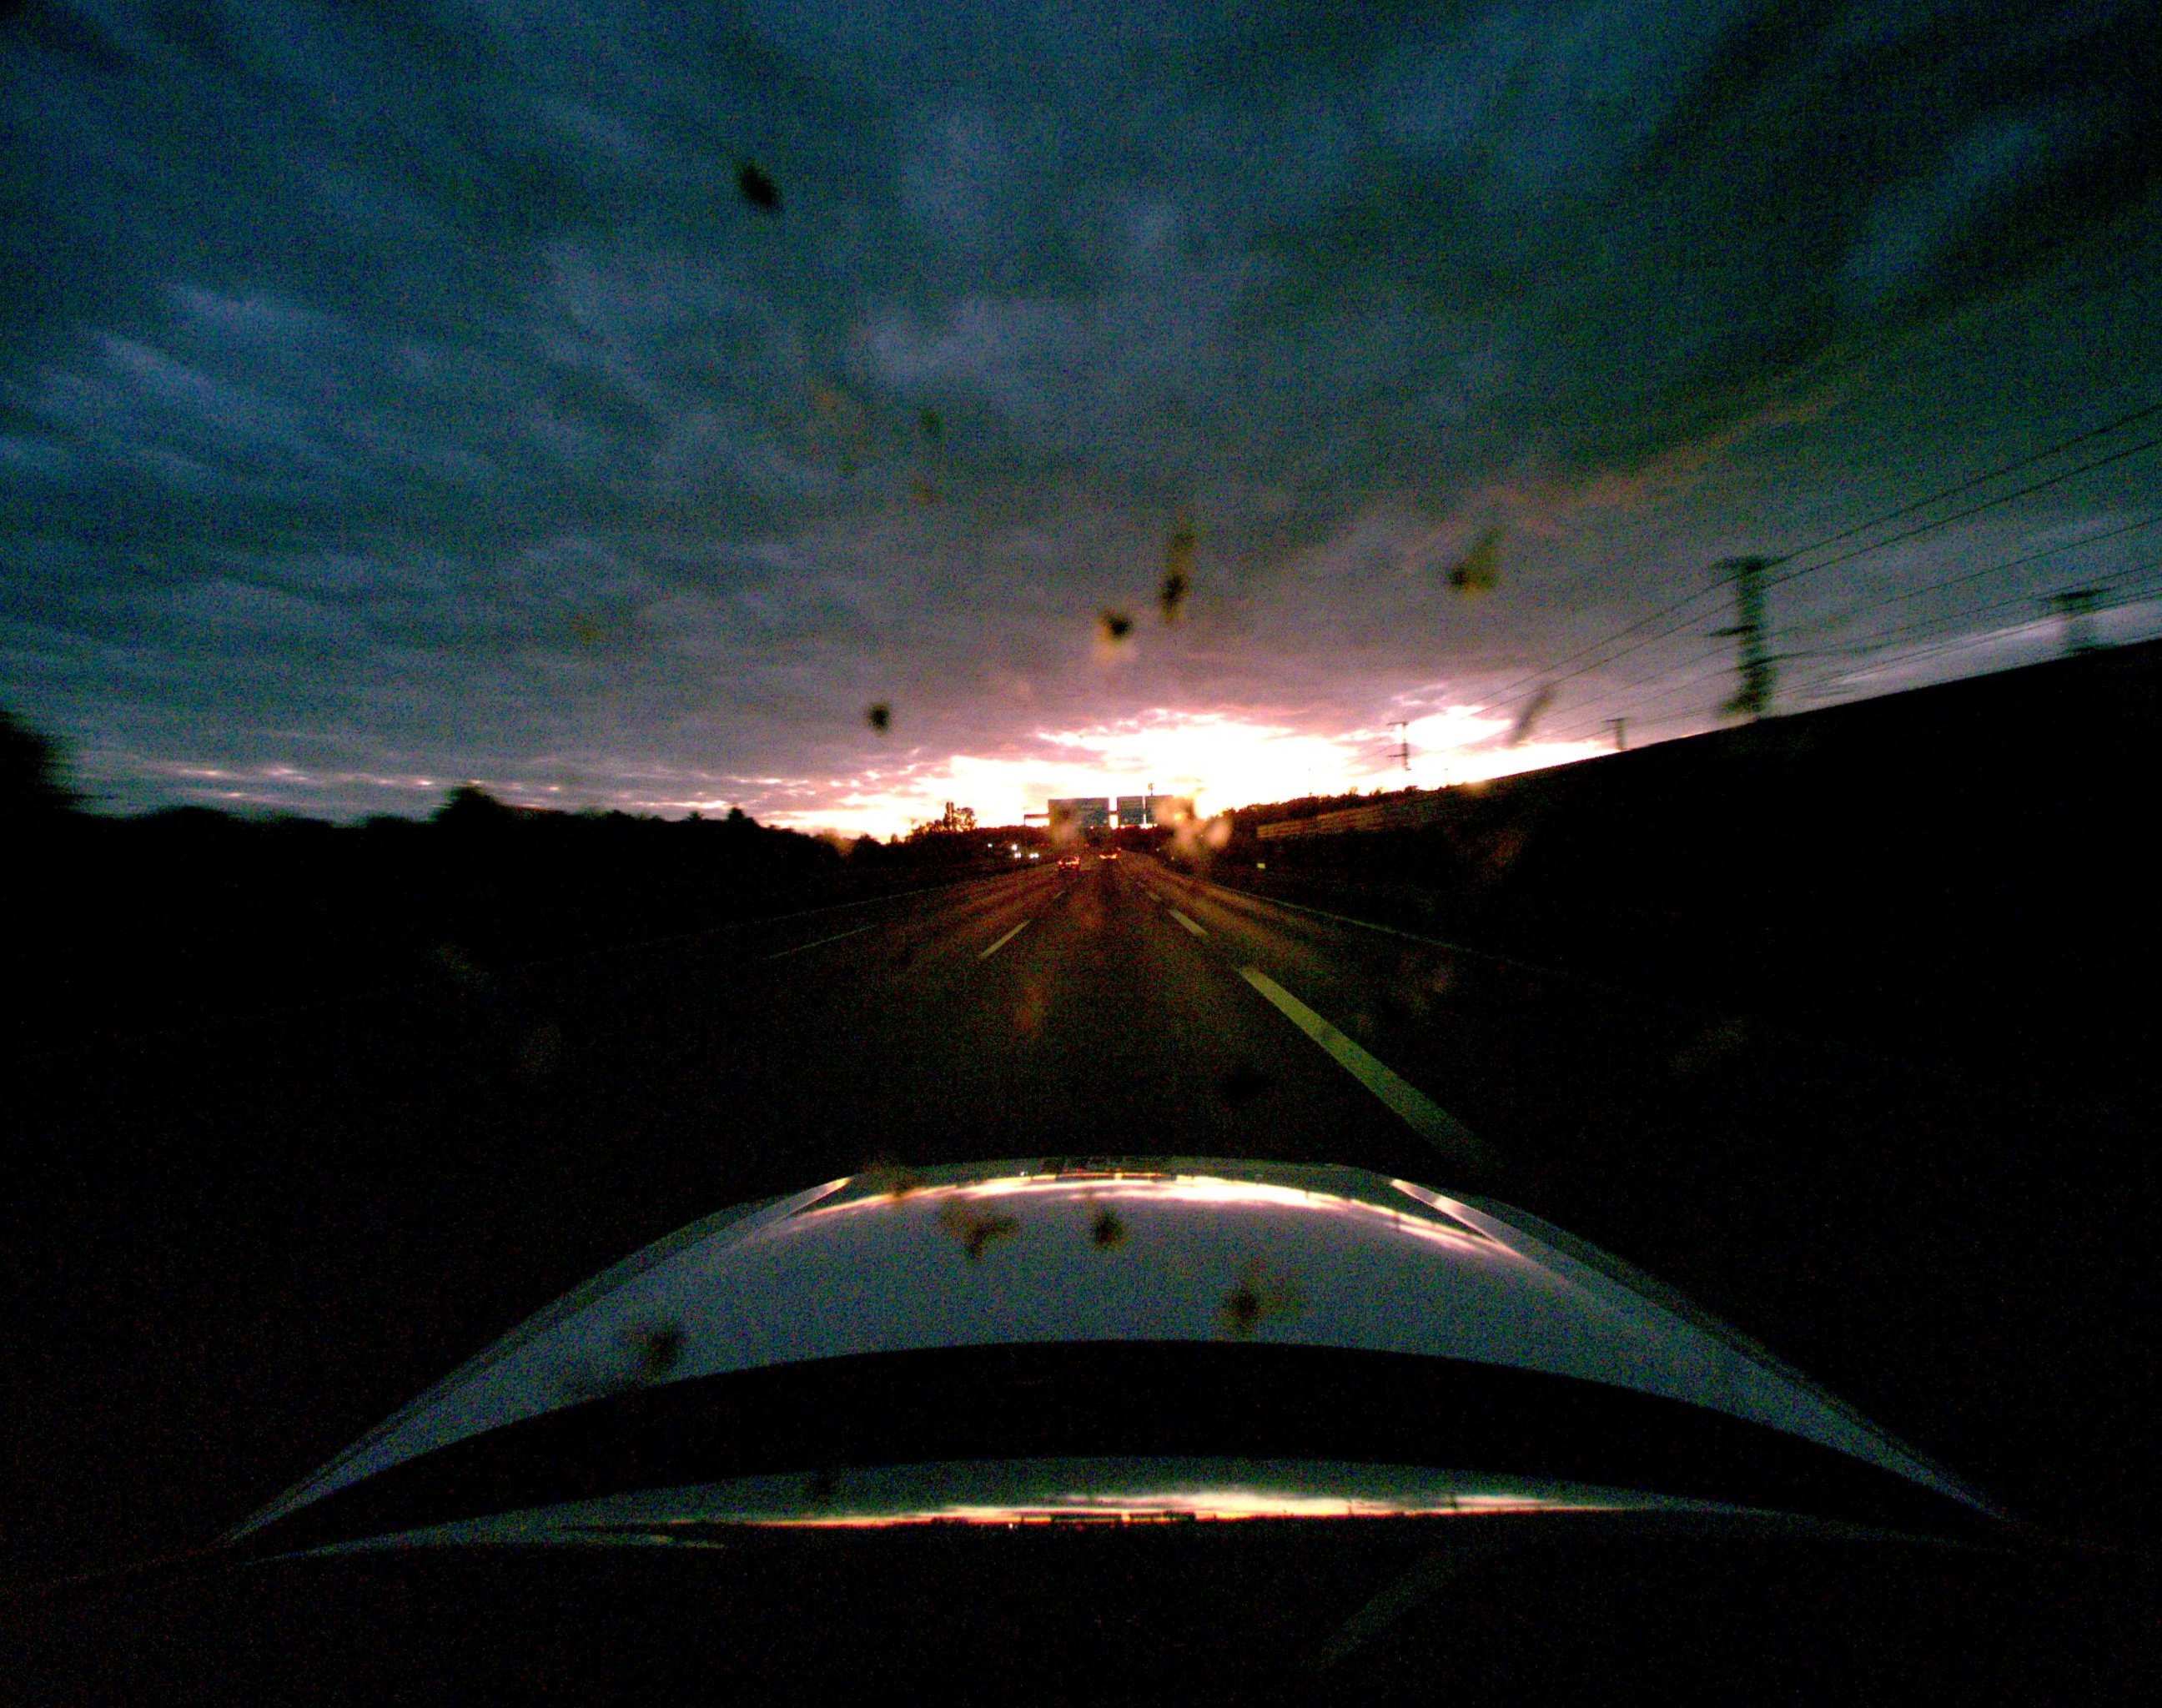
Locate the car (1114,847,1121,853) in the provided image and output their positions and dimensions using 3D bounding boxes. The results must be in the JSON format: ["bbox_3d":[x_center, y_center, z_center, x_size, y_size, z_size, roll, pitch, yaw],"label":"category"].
[{"bbox_3d":[11.040,-1.154,244.949,1.987,1.849,3.999,-1,-1,0],"label":"car"}]

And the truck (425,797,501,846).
[{"bbox_3d":[-54.410,-2.764,71.895,2.685,4.071,5.470,-2,0,-4],"label":"truck"}]

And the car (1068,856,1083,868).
[{"bbox_3d":[-0.691,1.077,104.846,1.684,1.401,3.408,-5,0,0],"label":"car"}]

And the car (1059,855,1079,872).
[{"bbox_3d":[-1.122,0.895,75.709,1.685,1.401,3.406,-4,0,-2],"label":"car"}]

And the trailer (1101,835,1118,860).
[{"bbox_3d":[4.966,-1.185,142.178,2.712,4.070,8.835,-4,1,2],"label":"trailer"}]

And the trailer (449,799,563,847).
[{"bbox_3d":[-54.817,-2.763,78.231,2.685,4.071,12.475,-2,0,-4],"label":"trailer"}]
